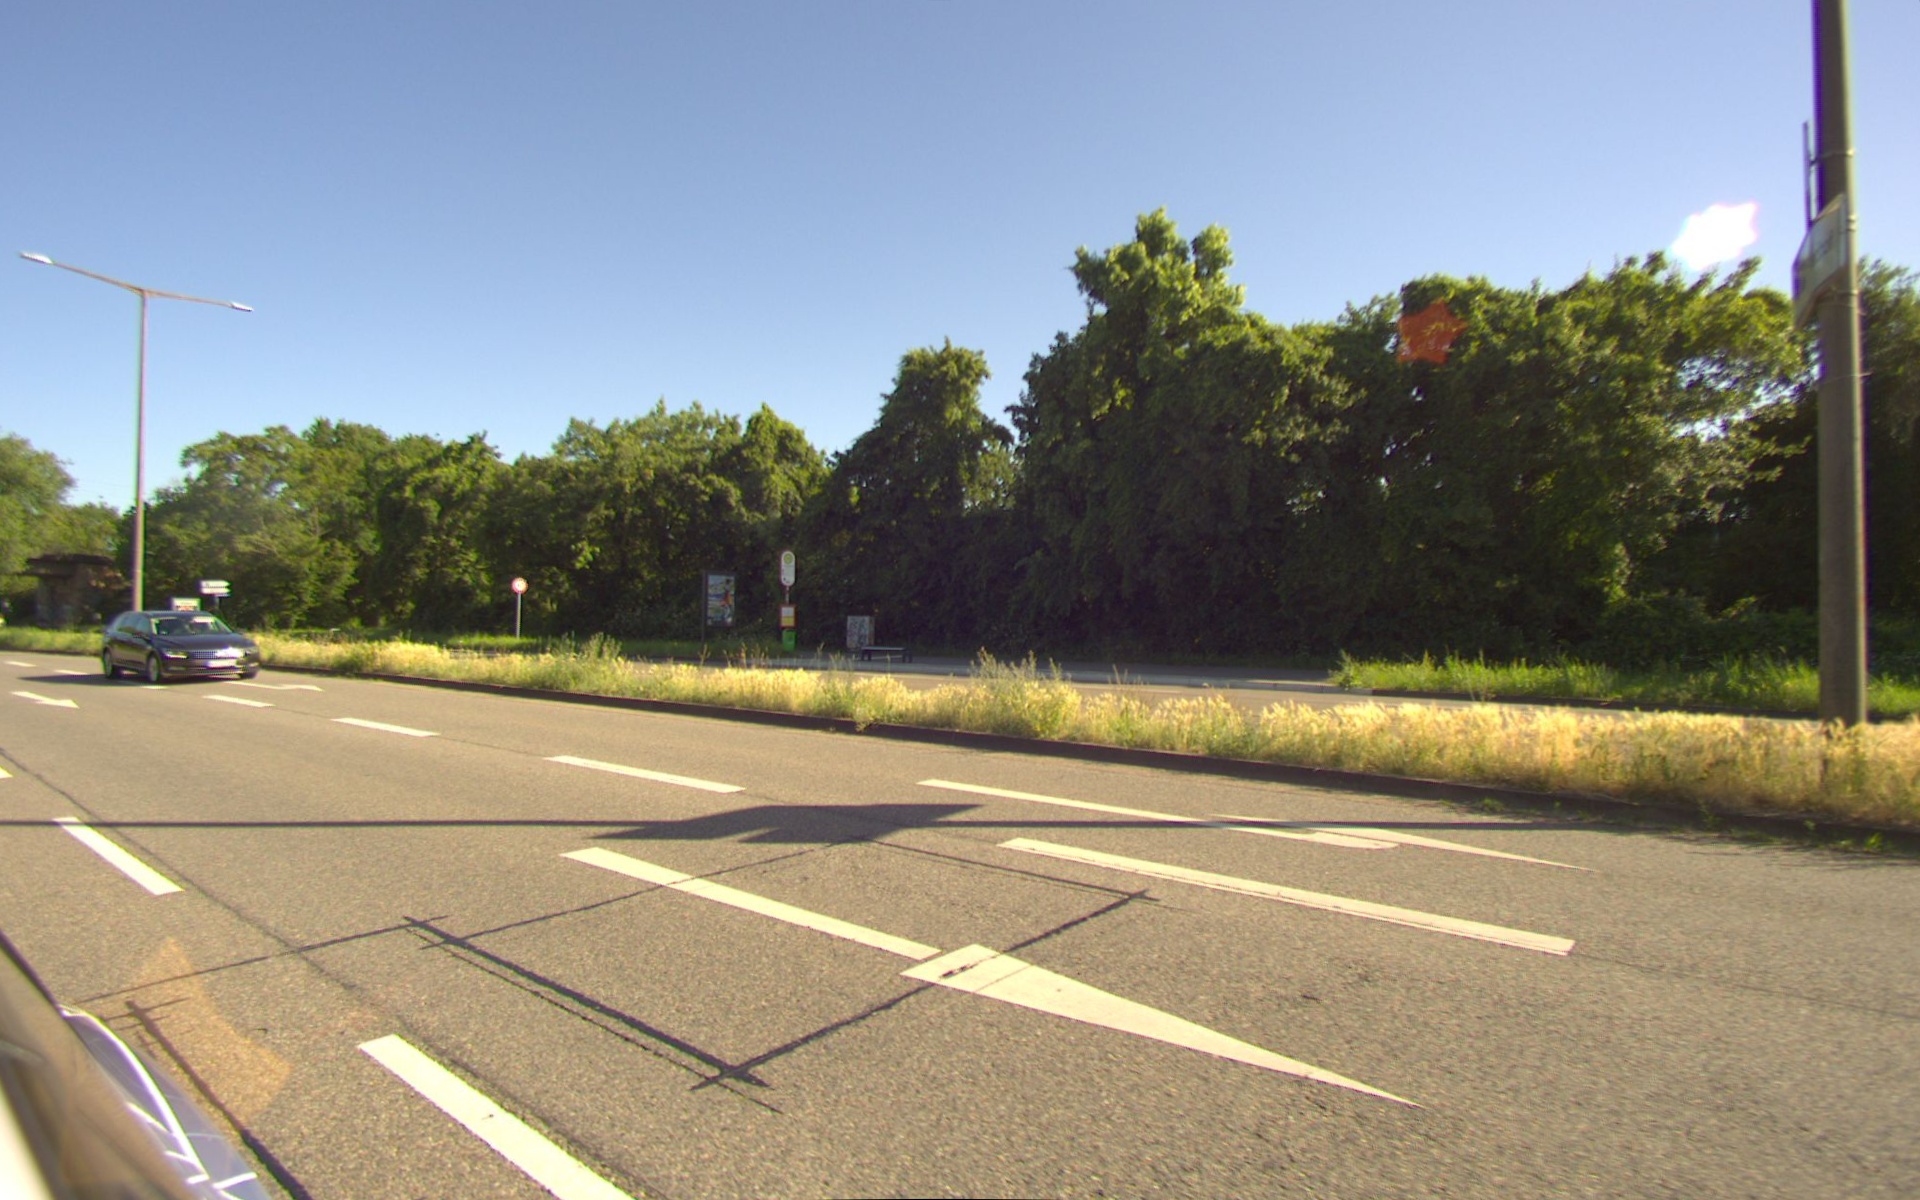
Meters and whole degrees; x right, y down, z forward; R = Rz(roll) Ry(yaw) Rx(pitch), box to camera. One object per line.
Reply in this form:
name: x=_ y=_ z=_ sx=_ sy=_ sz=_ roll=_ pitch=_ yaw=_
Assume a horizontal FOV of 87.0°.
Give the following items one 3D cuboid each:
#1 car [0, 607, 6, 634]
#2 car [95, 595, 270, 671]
car: x=-60.365 y=1.276 z=62.201 sx=3.828 sy=1.633 sz=1.852 roll=-1 pitch=0 yaw=36
car: x=-16.771 y=0.673 z=21.791 sx=3.990 sy=1.507 sz=1.776 roll=-1 pitch=-1 yaw=33
